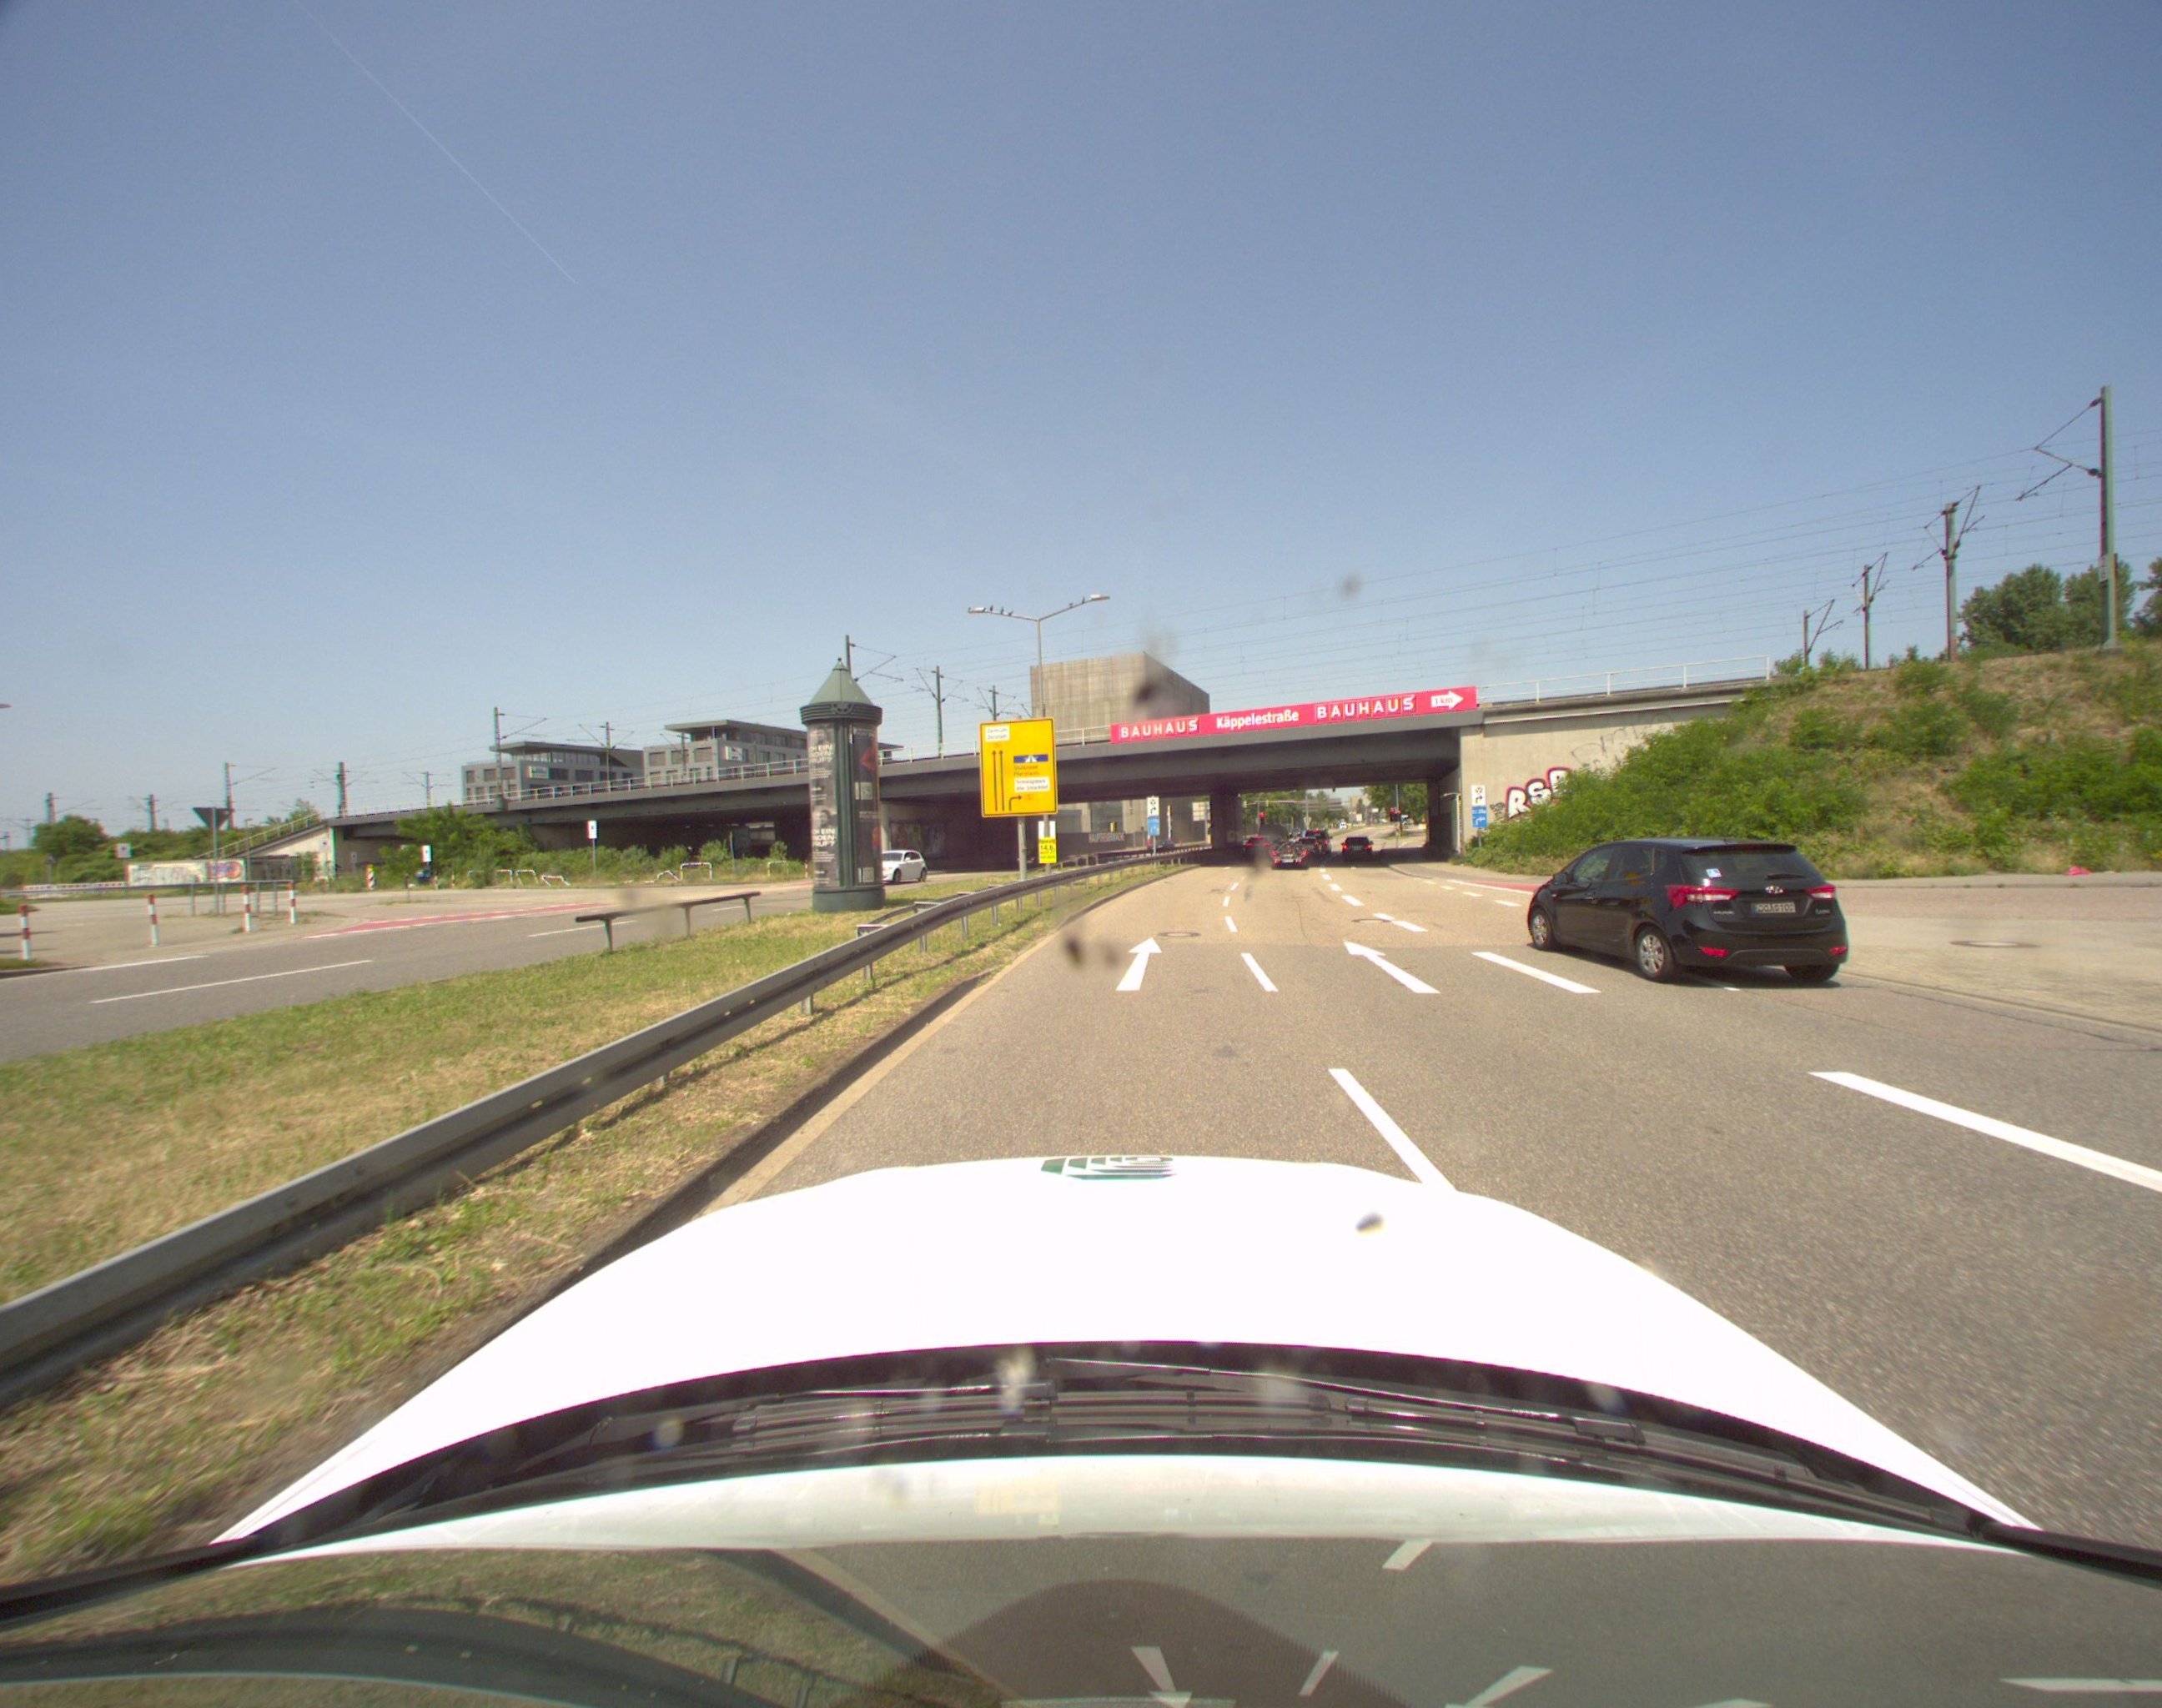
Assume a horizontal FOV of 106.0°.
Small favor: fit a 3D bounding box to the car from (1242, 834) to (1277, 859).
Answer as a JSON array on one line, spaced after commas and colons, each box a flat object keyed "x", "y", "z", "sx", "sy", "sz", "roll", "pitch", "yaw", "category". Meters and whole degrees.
[{"x": 12.627, "y": -0.530, "z": 57.411, "sx": 1.924, "sy": 1.721, "sz": 4.019, "roll": -1, "pitch": 0, "yaw": 19, "category": "car"}]

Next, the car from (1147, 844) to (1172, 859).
[{"x": 8.781, "y": -0.330, "z": 91.126, "sx": 1.839, "sy": 1.622, "sz": 4.020, "roll": -1, "pitch": 0, "yaw": 19, "category": "car"}]

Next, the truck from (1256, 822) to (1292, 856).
[{"x": 15.351, "y": -1.178, "z": 64.606, "sx": 2.049, "sy": 2.538, "sz": 4.022, "roll": -3, "pitch": 0, "yaw": 22, "category": "truck"}]

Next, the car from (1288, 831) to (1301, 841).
[{"x": 37.100, "y": -3.104, "z": 141.382, "sx": 1.839, "sy": 1.622, "sz": 4.019, "roll": -1, "pitch": 0, "yaw": 18, "category": "car"}]

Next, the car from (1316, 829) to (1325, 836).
[{"x": 53.717, "y": -4.801, "z": 182.840, "sx": 1.839, "sy": 1.622, "sz": 4.018, "roll": -1, "pitch": 0, "yaw": 17, "category": "car"}]

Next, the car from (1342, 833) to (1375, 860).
[{"x": 17.202, "y": -0.454, "z": 50.534, "sx": 1.825, "sy": 1.568, "sz": 4.019, "roll": -1, "pitch": 0, "yaw": 18, "category": "car"}]

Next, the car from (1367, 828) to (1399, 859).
[{"x": 21.944, "y": -0.779, "z": 59.271, "sx": 1.977, "sy": 2.013, "sz": 4.020, "roll": -4, "pitch": 0, "yaw": 20, "category": "car"}]

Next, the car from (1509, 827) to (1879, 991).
[{"x": 7.158, "y": 0.517, "z": 10.133, "sx": 1.759, "sy": 1.599, "sz": 4.083, "roll": -1, "pitch": 1, "yaw": 4, "category": "car"}]

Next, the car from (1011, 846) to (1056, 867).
[{"x": -3.570, "y": 0.203, "z": 62.253, "sx": 1.977, "sy": 1.441, "sz": 4.019, "roll": -3, "pitch": -1, "yaw": 19, "category": "car"}]

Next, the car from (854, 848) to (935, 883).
[{"x": -7.926, "y": 0.452, "z": 34.949, "sx": 1.642, "sy": 1.379, "sz": 4.233, "roll": -1, "pitch": 0, "yaw": 13, "category": "car"}]

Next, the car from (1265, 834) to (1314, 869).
[{"x": 10.507, "y": -0.165, "z": 40.836, "sx": 1.940, "sy": 1.633, "sz": 4.301, "roll": -1, "pitch": 1, "yaw": 19, "category": "car"}]

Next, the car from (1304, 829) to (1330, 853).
[{"x": 18.910, "y": -1.026, "z": 65.256, "sx": 1.825, "sy": 1.890, "sz": 4.019, "roll": -1, "pitch": 0, "yaw": 18, "category": "car"}]

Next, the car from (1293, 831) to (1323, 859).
[{"x": 16.558, "y": -0.659, "z": 59.271, "sx": 1.825, "sy": 1.890, "sz": 4.019, "roll": -1, "pitch": 0, "yaw": 18, "category": "car"}]
